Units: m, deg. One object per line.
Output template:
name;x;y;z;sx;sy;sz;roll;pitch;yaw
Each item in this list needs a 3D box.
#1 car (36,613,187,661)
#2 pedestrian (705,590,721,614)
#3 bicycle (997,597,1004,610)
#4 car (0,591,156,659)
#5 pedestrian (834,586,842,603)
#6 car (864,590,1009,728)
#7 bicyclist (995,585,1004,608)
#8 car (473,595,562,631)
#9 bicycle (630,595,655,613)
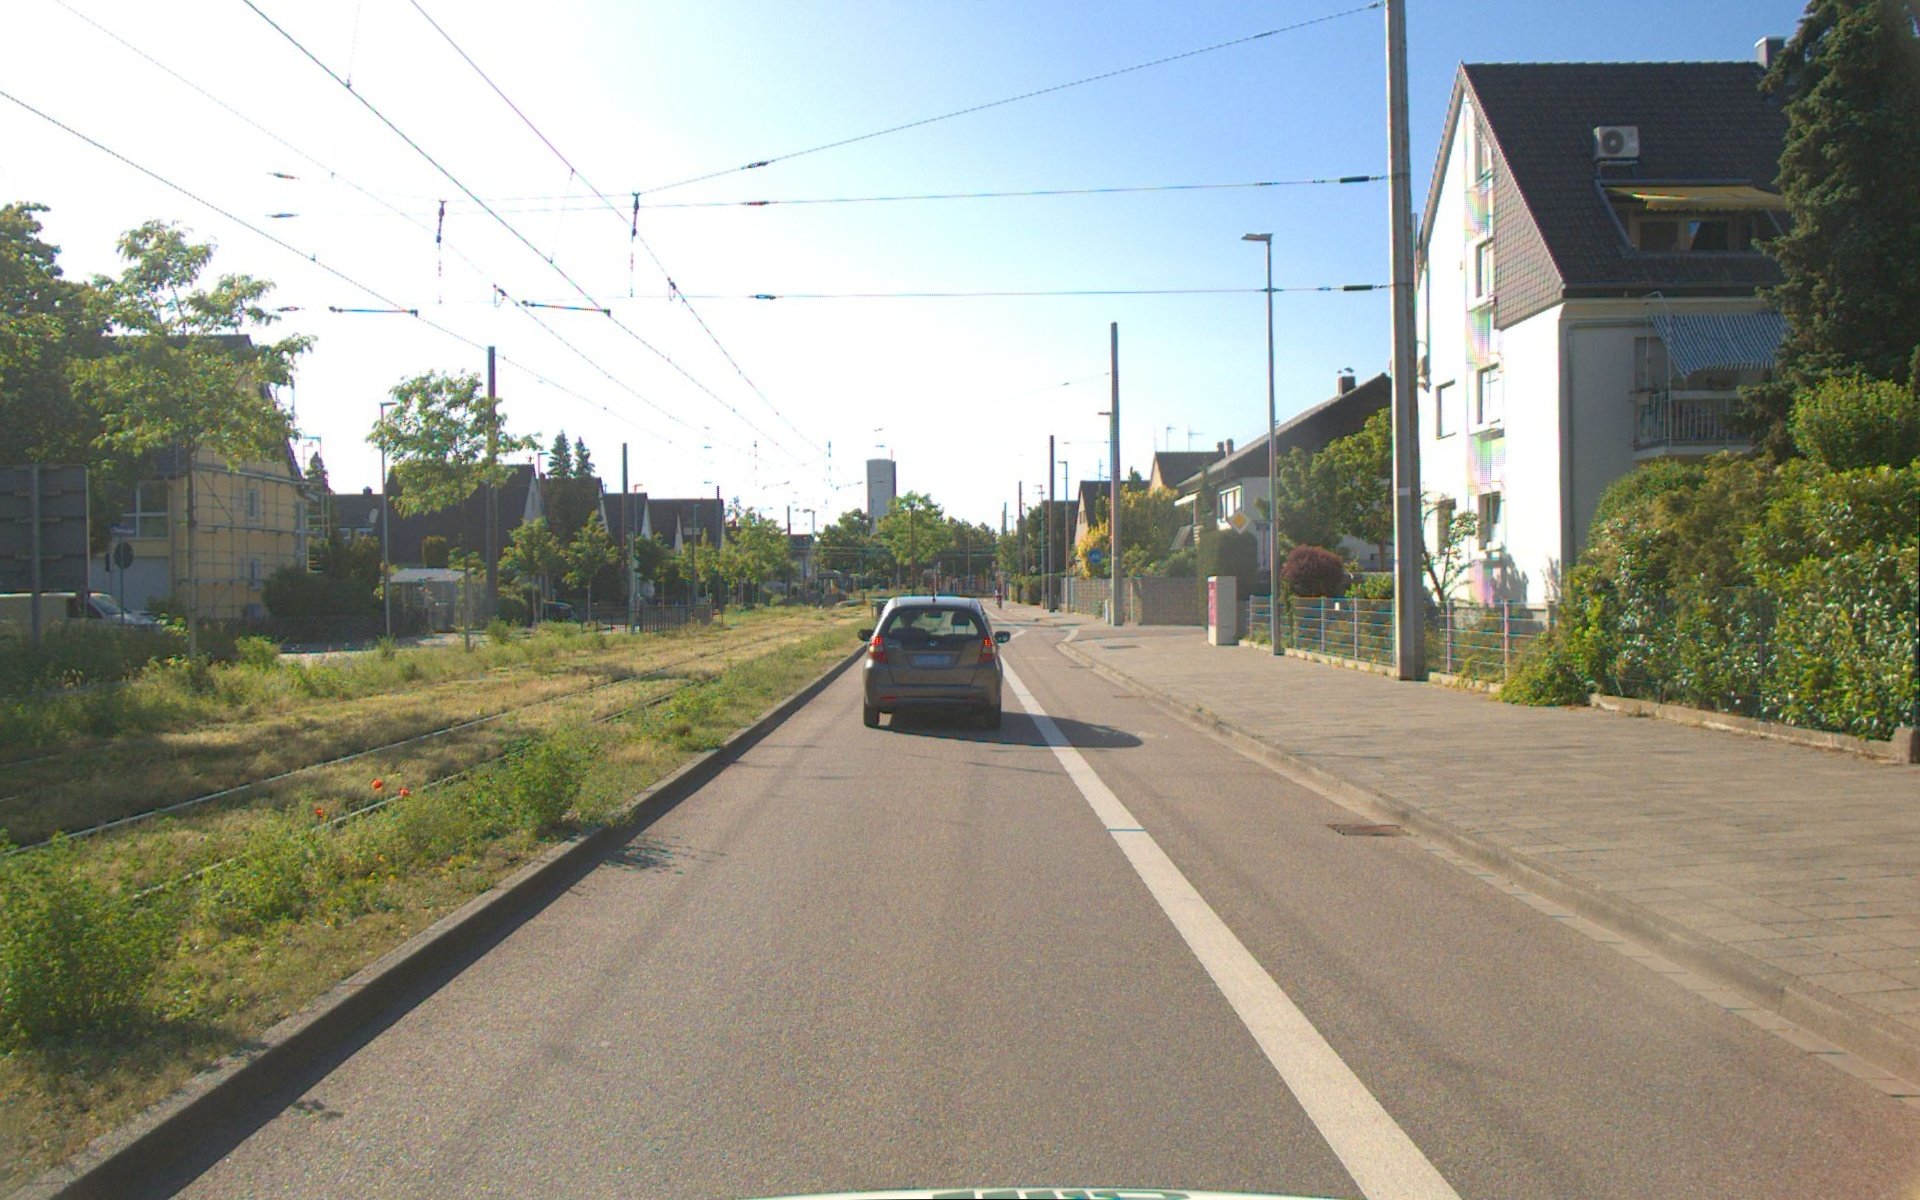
car;-27.492;1.216;53.678;3.906;1.428;1.852;-2;-2;-2
pedestrian;-17.953;0.132;120.094;0.945;1.669;1.085;-1;0;-1
bicycle;3.049;0.278;125.261;0.465;0.978;1.657;0;0;0
car;-27.509;0.748;50.875;4.591;1.948;1.903;-1;0;-1
pedestrian;-10.903;-0.487;147.356;0.662;1.562;0.748;-1;0;-5
car;-0.319;0.673;20.529;1.637;1.562;3.485;0;0;-2
bicyclist;2.984;-0.298;125.029;0.586;1.731;0.683;0;0;0
car;-23.901;0.691;89.436;4.460;1.765;2.047;-2;0;-12
bicycle;-26.017;0.325;135.425;1.951;1.389;0.704;-1;0;-7
